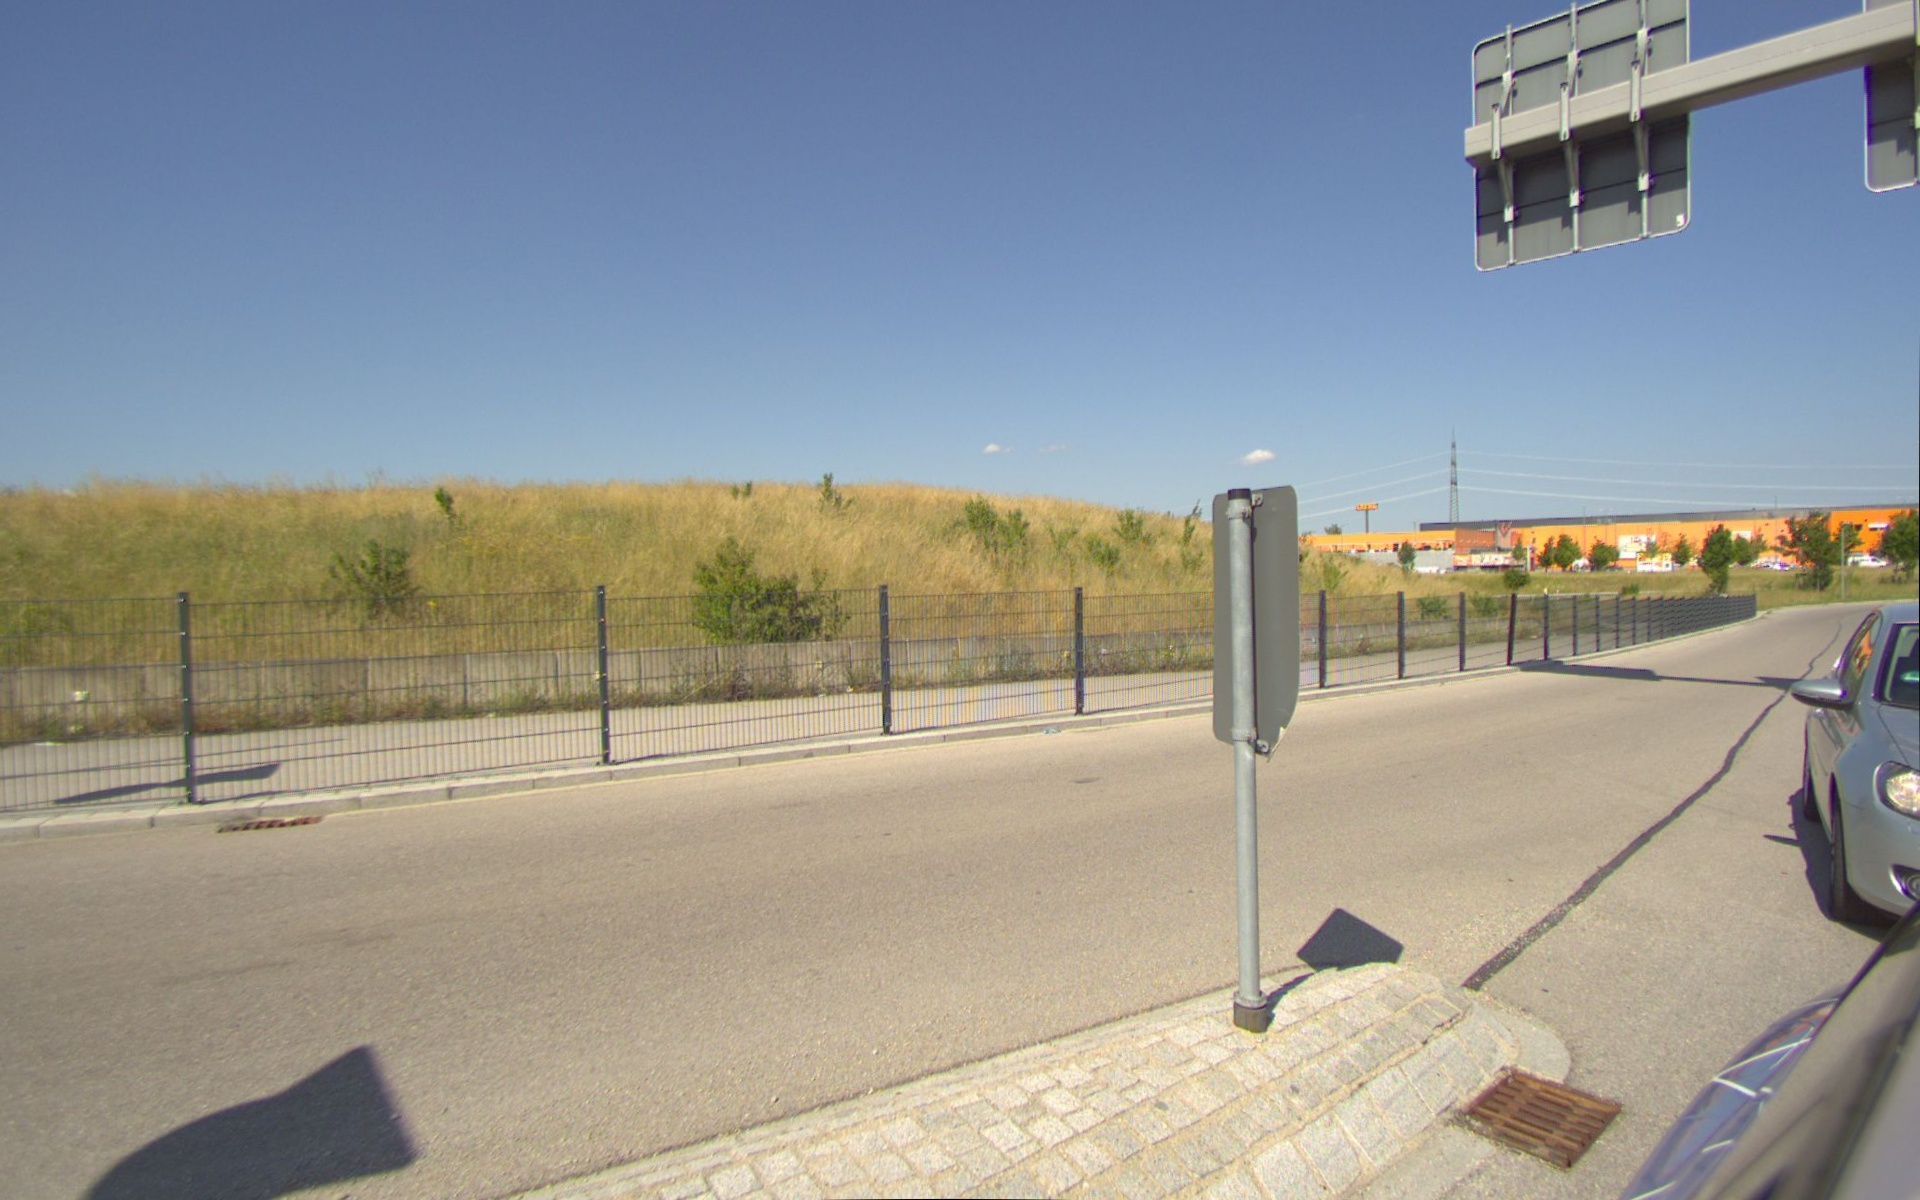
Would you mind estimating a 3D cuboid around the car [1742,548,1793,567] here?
[{"bbox_3d":[95.590,-5.035,119.904,4.611,2.039,1.973,-1,1,38],"label":"car"}]

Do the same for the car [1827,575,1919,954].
[{"bbox_3d":[5.514,0.641,5.047,1.740,1.486,3.902,3,3,41],"label":"car"}]

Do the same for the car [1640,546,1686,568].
[{"bbox_3d":[87.865,-5.361,126.574,4.611,2.580,1.973,-1,0,38],"label":"car"}]
